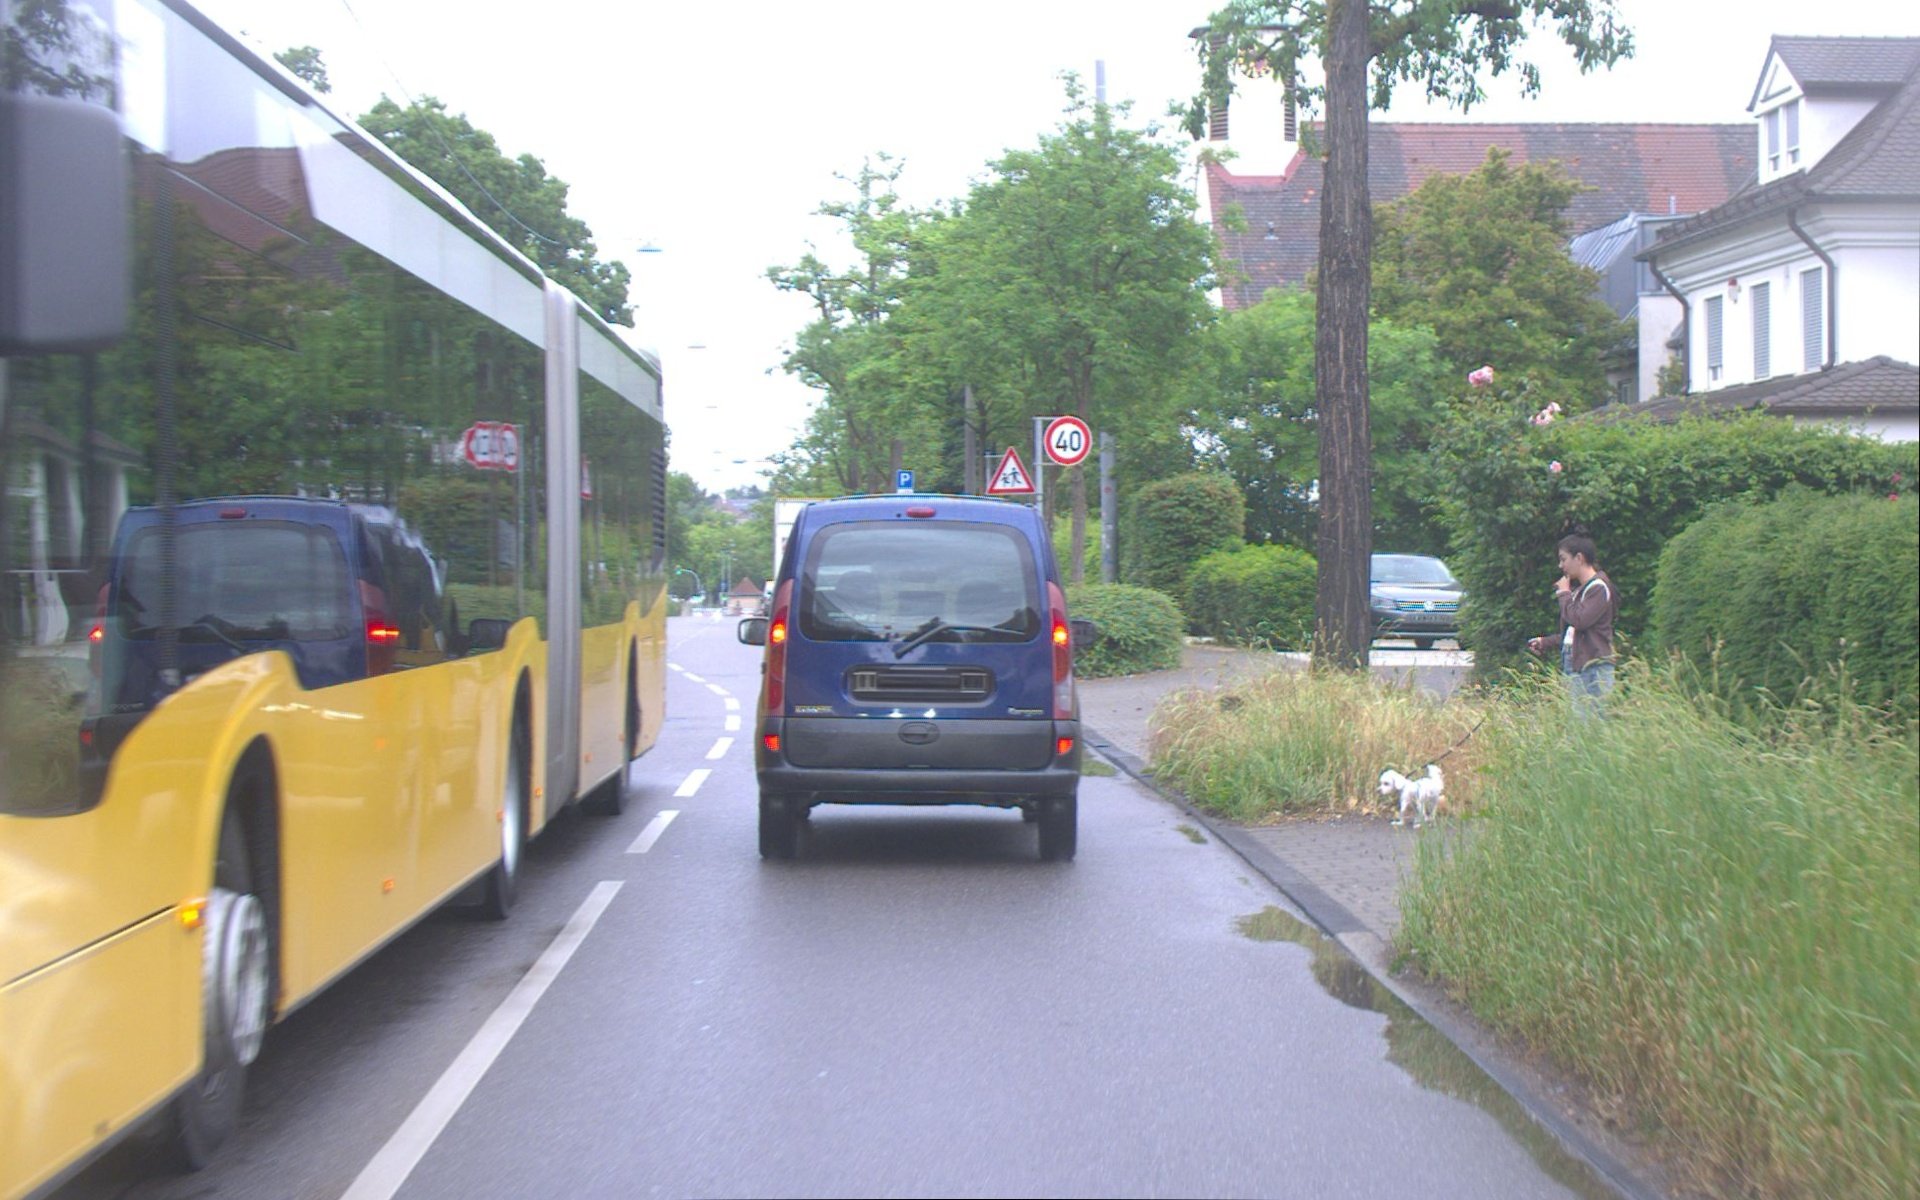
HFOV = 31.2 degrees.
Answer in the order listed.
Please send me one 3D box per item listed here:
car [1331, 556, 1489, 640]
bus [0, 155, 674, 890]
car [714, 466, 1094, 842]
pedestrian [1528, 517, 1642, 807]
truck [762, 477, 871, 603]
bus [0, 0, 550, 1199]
[{"bbox_3d":[6.666,-0.056,51.260,1.831,1.172,4.000,1,1,0],"label":"car"},{"bbox_3d":[-3.187,-0.381,19.167,2.594,3.147,8.636,1,1,-1],"label":"bus"},{"bbox_3d":[-0.329,0.237,18.504,1.808,1.791,4.000,0,1,-2],"label":"car"},{"bbox_3d":[3.336,0.326,18.368,0.481,1.529,0.439,1,1,-4],"label":"pedestrian"},{"bbox_3d":[-4.075,-1.663,96.496,2.731,3.375,6.686,-1,1,-5],"label":"truck"},{"bbox_3d":[-3.020,-0.178,10.216,2.643,3.034,9.230,1,1,-1],"label":"bus"}]
